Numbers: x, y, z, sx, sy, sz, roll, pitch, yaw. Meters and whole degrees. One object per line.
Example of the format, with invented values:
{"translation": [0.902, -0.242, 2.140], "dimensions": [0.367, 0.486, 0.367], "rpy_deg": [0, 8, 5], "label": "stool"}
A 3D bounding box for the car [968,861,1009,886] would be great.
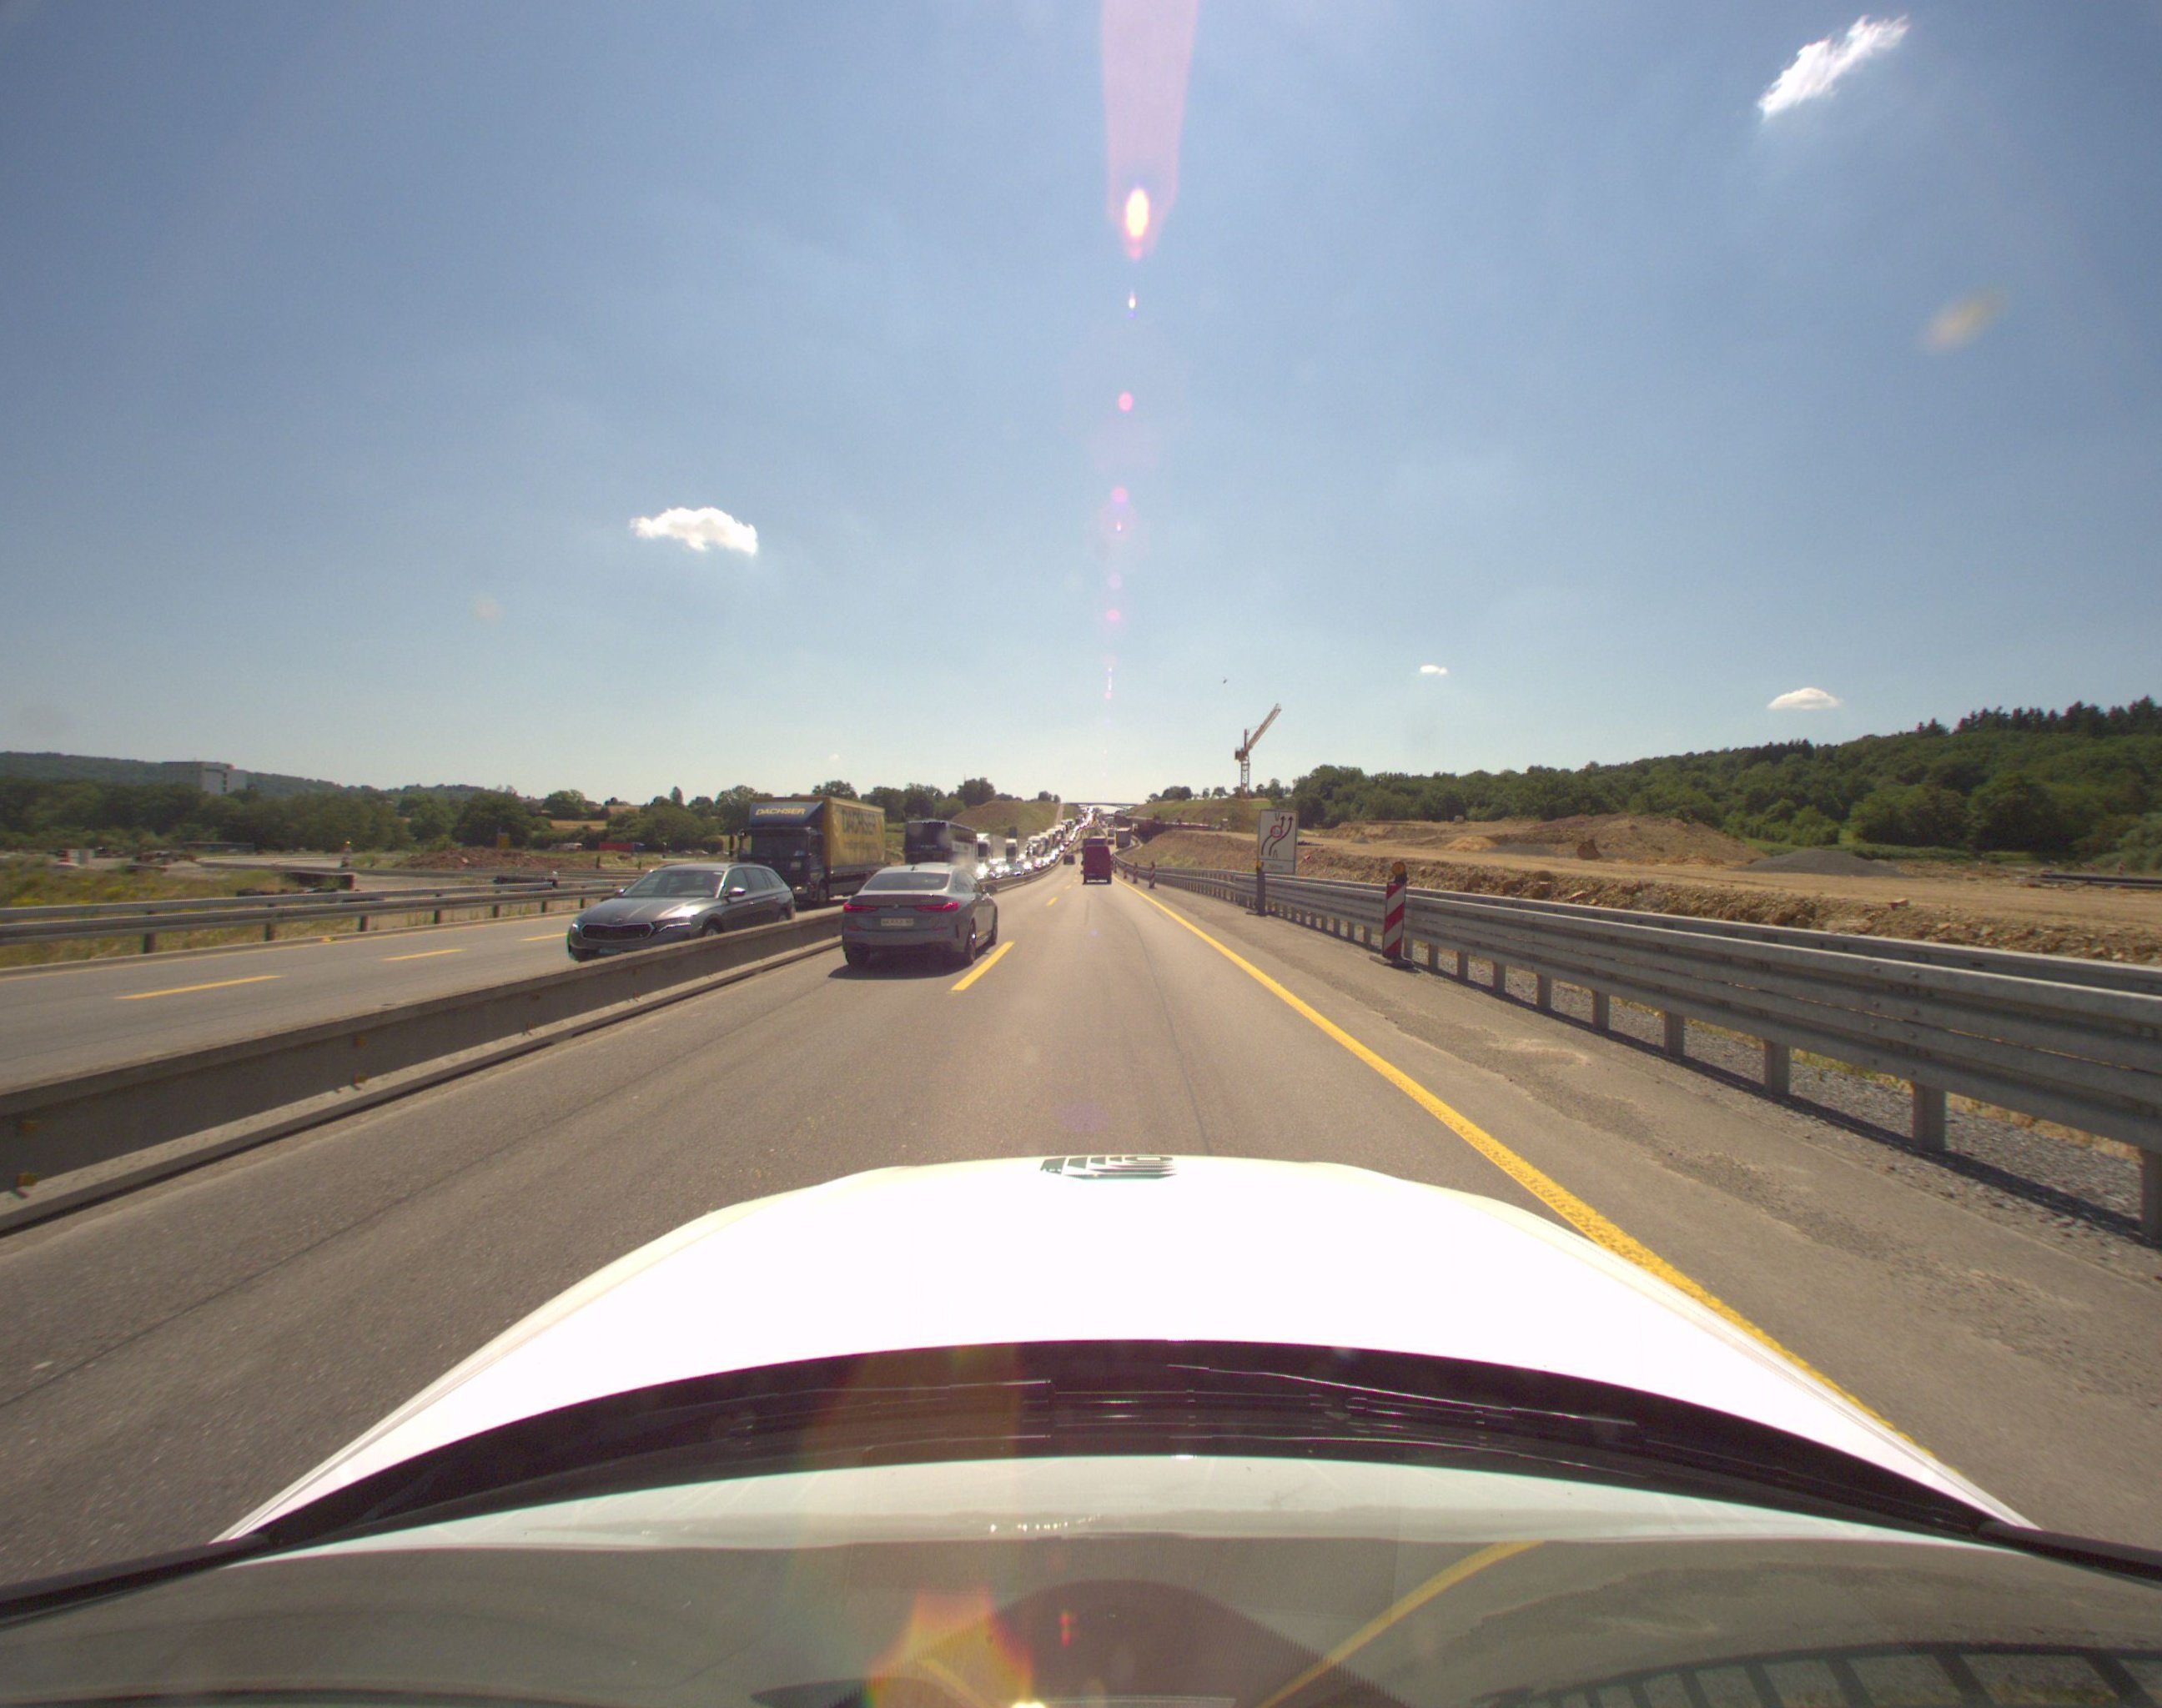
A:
{"translation": [-5.668, 1.169, 50.553], "dimensions": [1.912, 1.423, 5.090], "rpy_deg": [1, 0, 0], "label": "car"}

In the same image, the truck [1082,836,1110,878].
{"translation": [1.844, 0.268, 96.176], "dimensions": [3.008, 4.692, 6.938], "rpy_deg": [-2, 1, 3], "label": "truck"}

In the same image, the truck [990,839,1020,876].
{"translation": [-8.757, 0.390, 94.900], "dimensions": [2.968, 4.185, 5.872], "rpy_deg": [0, 0, -1], "label": "truck"}

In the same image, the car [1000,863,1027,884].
{"translation": [-5.469, 1.560, 66.369], "dimensions": [1.807, 1.437, 5.120], "rpy_deg": [1, 1, -1], "label": "car"}

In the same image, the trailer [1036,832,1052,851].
{"translation": [-7.919, -2.548, 175.439], "dimensions": [2.774, 3.931, 11.007], "rpy_deg": [0, 0, 0], "label": "trailer"}

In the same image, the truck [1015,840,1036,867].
{"translation": [-8.118, -0.149, 120.618], "dimensions": [2.517, 3.855, 8.669], "rpy_deg": [0, 0, 0], "label": "truck"}

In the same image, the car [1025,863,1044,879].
{"translation": [-5.386, 1.948, 95.085], "dimensions": [1.987, 1.631, 4.757], "rpy_deg": [1, 1, -1], "label": "car"}

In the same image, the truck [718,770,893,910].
{"translation": [-9.362, -0.381, 29.269], "dimensions": [2.793, 4.152, 10.078], "rpy_deg": [0, 0, 0], "label": "truck"}

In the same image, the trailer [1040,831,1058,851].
{"translation": [-7.420, -3.091, 191.034], "dimensions": [3.030, 4.552, 12.137], "rpy_deg": [0, 1, 3], "label": "trailer"}

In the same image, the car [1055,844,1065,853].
{"translation": [-4.613, -1.271, 176.622], "dimensions": [1.988, 1.783, 3.998], "rpy_deg": [-3, 1, -1], "label": "car"}

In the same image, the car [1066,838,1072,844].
{"translation": [-3.211, -3.465, 218.060], "dimensions": [1.741, 1.409, 4.000], "rpy_deg": [0, 1, 0], "label": "car"}

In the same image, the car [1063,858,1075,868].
{"translation": [-1.899, 1.375, 129.982], "dimensions": [2.006, 1.545, 4.131], "rpy_deg": [0, 1, -1], "label": "car"}

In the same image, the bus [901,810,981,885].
{"translation": [-8.911, -0.298, 53.816], "dimensions": [2.730, 4.264, 14.473], "rpy_deg": [0, -1, 0], "label": "bus"}

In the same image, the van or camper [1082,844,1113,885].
{"translation": [1.125, 0.685, 57.321], "dimensions": [2.023, 2.744, 4.513], "rpy_deg": [0, 1, -1], "label": "van or camper"}

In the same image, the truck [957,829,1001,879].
{"translation": [-8.882, -0.023, 71.458], "dimensions": [3.088, 4.198, 6.700], "rpy_deg": [0, 0, -1], "label": "truck"}

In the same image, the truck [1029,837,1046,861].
{"translation": [-7.727, -0.937, 146.124], "dimensions": [2.542, 4.230, 6.530], "rpy_deg": [0, 1, 0], "label": "truck"}

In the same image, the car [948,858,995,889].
{"translation": [-5.726, 0.995, 43.175], "dimensions": [1.832, 1.443, 4.929], "rpy_deg": [0, 1, 0], "label": "car"}

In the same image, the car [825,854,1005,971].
{"translation": [-2.378, 0.763, 12.974], "dimensions": [1.845, 1.452, 4.742], "rpy_deg": [0, 1, 0], "label": "car"}

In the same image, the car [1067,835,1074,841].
{"translation": [-2.960, -4.663, 236.877], "dimensions": [1.946, 1.530, 4.267], "rpy_deg": [0, 1, 0], "label": "car"}

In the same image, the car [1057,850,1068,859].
{"translation": [-3.282, 0.048, 145.667], "dimensions": [1.821, 1.535, 4.546], "rpy_deg": [-2, 0, 0], "label": "car"}

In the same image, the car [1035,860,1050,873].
{"translation": [-5.081, 1.643, 107.176], "dimensions": [1.821, 1.574, 3.999], "rpy_deg": [0, -1, 0], "label": "car"}

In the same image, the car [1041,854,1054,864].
{"translation": [-5.491, 0.812, 134.473], "dimensions": [1.821, 1.651, 4.545], "rpy_deg": [1, -1, 0], "label": "car"}

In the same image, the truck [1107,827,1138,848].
{"translation": [10.362, -4.038, 199.673], "dimensions": [5.124, 4.996, 13.928], "rpy_deg": [0, 1, 14], "label": "truck"}

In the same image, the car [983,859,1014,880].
{"translation": [-5.887, 1.121, 58.603], "dimensions": [1.827, 1.423, 4.681], "rpy_deg": [0, -1, -1], "label": "car"}

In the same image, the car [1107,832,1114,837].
{"translation": [9.185, -6.101, 253.536], "dimensions": [1.946, 1.641, 4.267], "rpy_deg": [0, 1, 0], "label": "car"}

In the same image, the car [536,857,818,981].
{"translation": [-5.962, 0.837, 12.906], "dimensions": [1.876, 1.432, 5.125], "rpy_deg": [1, 1, 0], "label": "car"}

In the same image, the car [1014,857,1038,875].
{"translation": [-5.314, 1.103, 78.725], "dimensions": [1.987, 1.620, 4.881], "rpy_deg": [0, 1, 0], "label": "car"}

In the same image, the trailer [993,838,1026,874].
{"translation": [-8.825, 0.231, 101.961], "dimensions": [2.977, 4.208, 13.941], "rpy_deg": [0, 0, 0], "label": "trailer"}

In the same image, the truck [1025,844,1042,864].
{"translation": [-7.933, -0.044, 136.190], "dimensions": [2.427, 3.148, 7.021], "rpy_deg": [-1, 1, -1], "label": "truck"}

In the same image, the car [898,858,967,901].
{"translation": [-5.766, 0.950, 32.176], "dimensions": [1.853, 1.494, 4.902], "rpy_deg": [-2, 0, -1], "label": "car"}
